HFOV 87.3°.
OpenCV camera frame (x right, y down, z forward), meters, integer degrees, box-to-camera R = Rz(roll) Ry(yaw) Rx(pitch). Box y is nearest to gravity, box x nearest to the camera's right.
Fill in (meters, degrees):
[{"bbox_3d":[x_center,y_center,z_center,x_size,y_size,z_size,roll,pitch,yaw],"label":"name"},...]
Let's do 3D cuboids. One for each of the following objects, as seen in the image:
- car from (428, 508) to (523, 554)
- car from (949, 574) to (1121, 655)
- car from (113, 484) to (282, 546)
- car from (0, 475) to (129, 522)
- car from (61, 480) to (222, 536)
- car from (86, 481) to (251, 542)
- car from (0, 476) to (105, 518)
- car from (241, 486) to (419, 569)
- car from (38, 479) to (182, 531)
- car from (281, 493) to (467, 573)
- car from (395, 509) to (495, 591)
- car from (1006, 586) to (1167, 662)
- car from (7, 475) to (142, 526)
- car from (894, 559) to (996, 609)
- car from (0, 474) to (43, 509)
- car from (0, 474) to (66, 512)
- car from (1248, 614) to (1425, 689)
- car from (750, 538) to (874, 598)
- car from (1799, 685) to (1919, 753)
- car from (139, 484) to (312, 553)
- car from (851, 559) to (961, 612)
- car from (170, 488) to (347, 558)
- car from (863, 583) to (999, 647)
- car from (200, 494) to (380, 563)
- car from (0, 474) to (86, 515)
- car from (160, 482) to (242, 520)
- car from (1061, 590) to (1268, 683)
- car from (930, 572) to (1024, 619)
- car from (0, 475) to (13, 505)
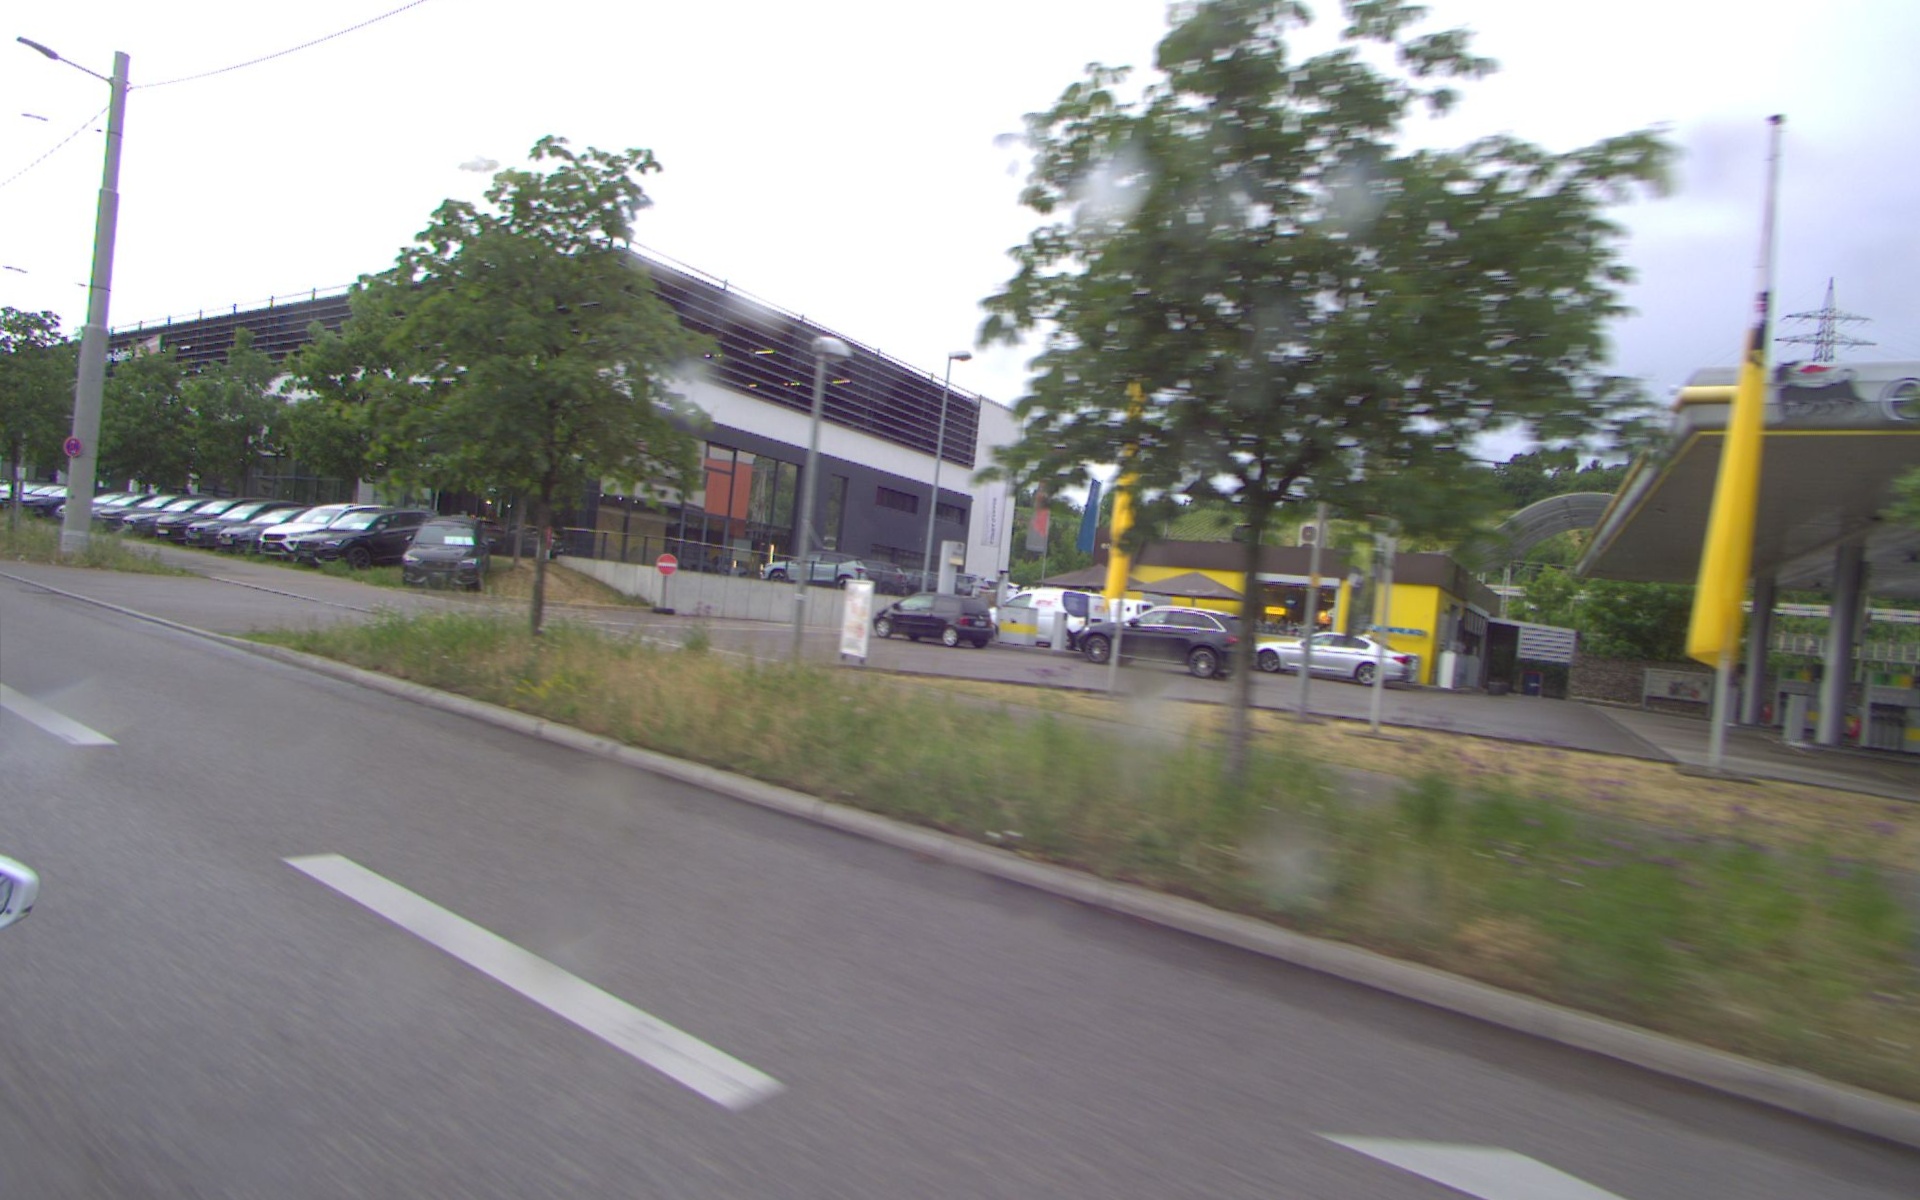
[{"bbox_3d":[-20.346,-2.898,42.221,3.835,1.491,1.780,7,1,33],"label":"car"},{"bbox_3d":[2.235,0.423,30.474,4.639,1.884,1.995,7,1,32],"label":"car"},{"bbox_3d":[-27.438,-3.011,36.369,1.789,1.640,4.493,7,1,25],"label":"car"},{"bbox_3d":[-40.095,-4.504,45.045,1.760,1.554,4.151,6,1,14],"label":"car"},{"bbox_3d":[-31.748,-3.534,39.168,1.788,1.589,4.495,7,1,22],"label":"car"},{"bbox_3d":[-29.511,-3.259,37.670,1.788,1.685,4.495,7,1,22],"label":"car"},{"bbox_3d":[-42.440,-4.767,46.464,1.760,1.477,4.151,6,1,14],"label":"car"},{"bbox_3d":[-19.034,-2.137,30.671,1.786,2.017,4.498,6,1,14],"label":"car"},{"bbox_3d":[-33.894,-3.767,40.240,1.656,1.521,4.052,7,1,22],"label":"car"},{"bbox_3d":[-16.768,-1.857,29.063,1.844,1.813,4.387,7,1,20],"label":"car"},{"bbox_3d":[-13.754,-1.398,27.084,1.852,1.840,4.365,5,3,-22],"label":"car"},{"bbox_3d":[4.083,0.760,32.719,4.640,1.884,1.995,7,1,33],"label":"car"},{"bbox_3d":[-37.871,-4.228,43.151,1.700,1.597,4.056,6,1,14],"label":"car"},{"bbox_3d":[-0.648,-0.697,45.860,4.234,1.665,1.845,8,1,7],"label":"car"},{"bbox_3d":[-49.258,-5.636,50.765,1.792,1.590,4.151,6,1,9],"label":"car"},{"bbox_3d":[-46.886,-5.361,49.353,1.873,1.590,4.151,6,1,11],"label":"car"},{"bbox_3d":[11.444,1.547,30.666,4.639,1.629,1.995,7,1,32],"label":"car"},{"bbox_3d":[-5.567,-1.176,38.186,4.236,1.665,1.844,8,1,1],"label":"car"},{"bbox_3d":[30.045,3.933,32.177,4.525,1.684,1.998,7,-2,32],"label":"car"},{"bbox_3d":[-25.293,-2.759,34.860,1.788,1.819,4.495,7,1,22],"label":"car"},{"bbox_3d":[-2.288,-0.618,43.061,4.233,1.665,1.845,8,1,9],"label":"car"},{"bbox_3d":[-23.118,-2.502,33.381,1.788,1.775,4.495,7,1,22],"label":"car"},{"bbox_3d":[-0.824,0.410,27.731,3.431,1.355,1.393,7,1,30],"label":"car"},{"bbox_3d":[-21.117,-2.202,31.932,1.787,1.659,4.496,7,1,20],"label":"car"},{"bbox_3d":[-44.635,-5.100,47.920,1.796,1.548,4.151,6,1,14],"label":"car"},{"bbox_3d":[-52.694,-6.855,69.878,1.913,2.001,4.029,7,0,33],"label":"car"},{"bbox_3d":[5.177,0.904,25.674,4.639,1.759,1.995,7,1,32],"label":"car"},{"bbox_3d":[0.826,-0.209,48.155,4.236,1.665,1.844,8,1,1],"label":"car"},{"bbox_3d":[-53.845,-6.155,53.949,1.834,1.582,4.151,6,1,8],"label":"car"}]
